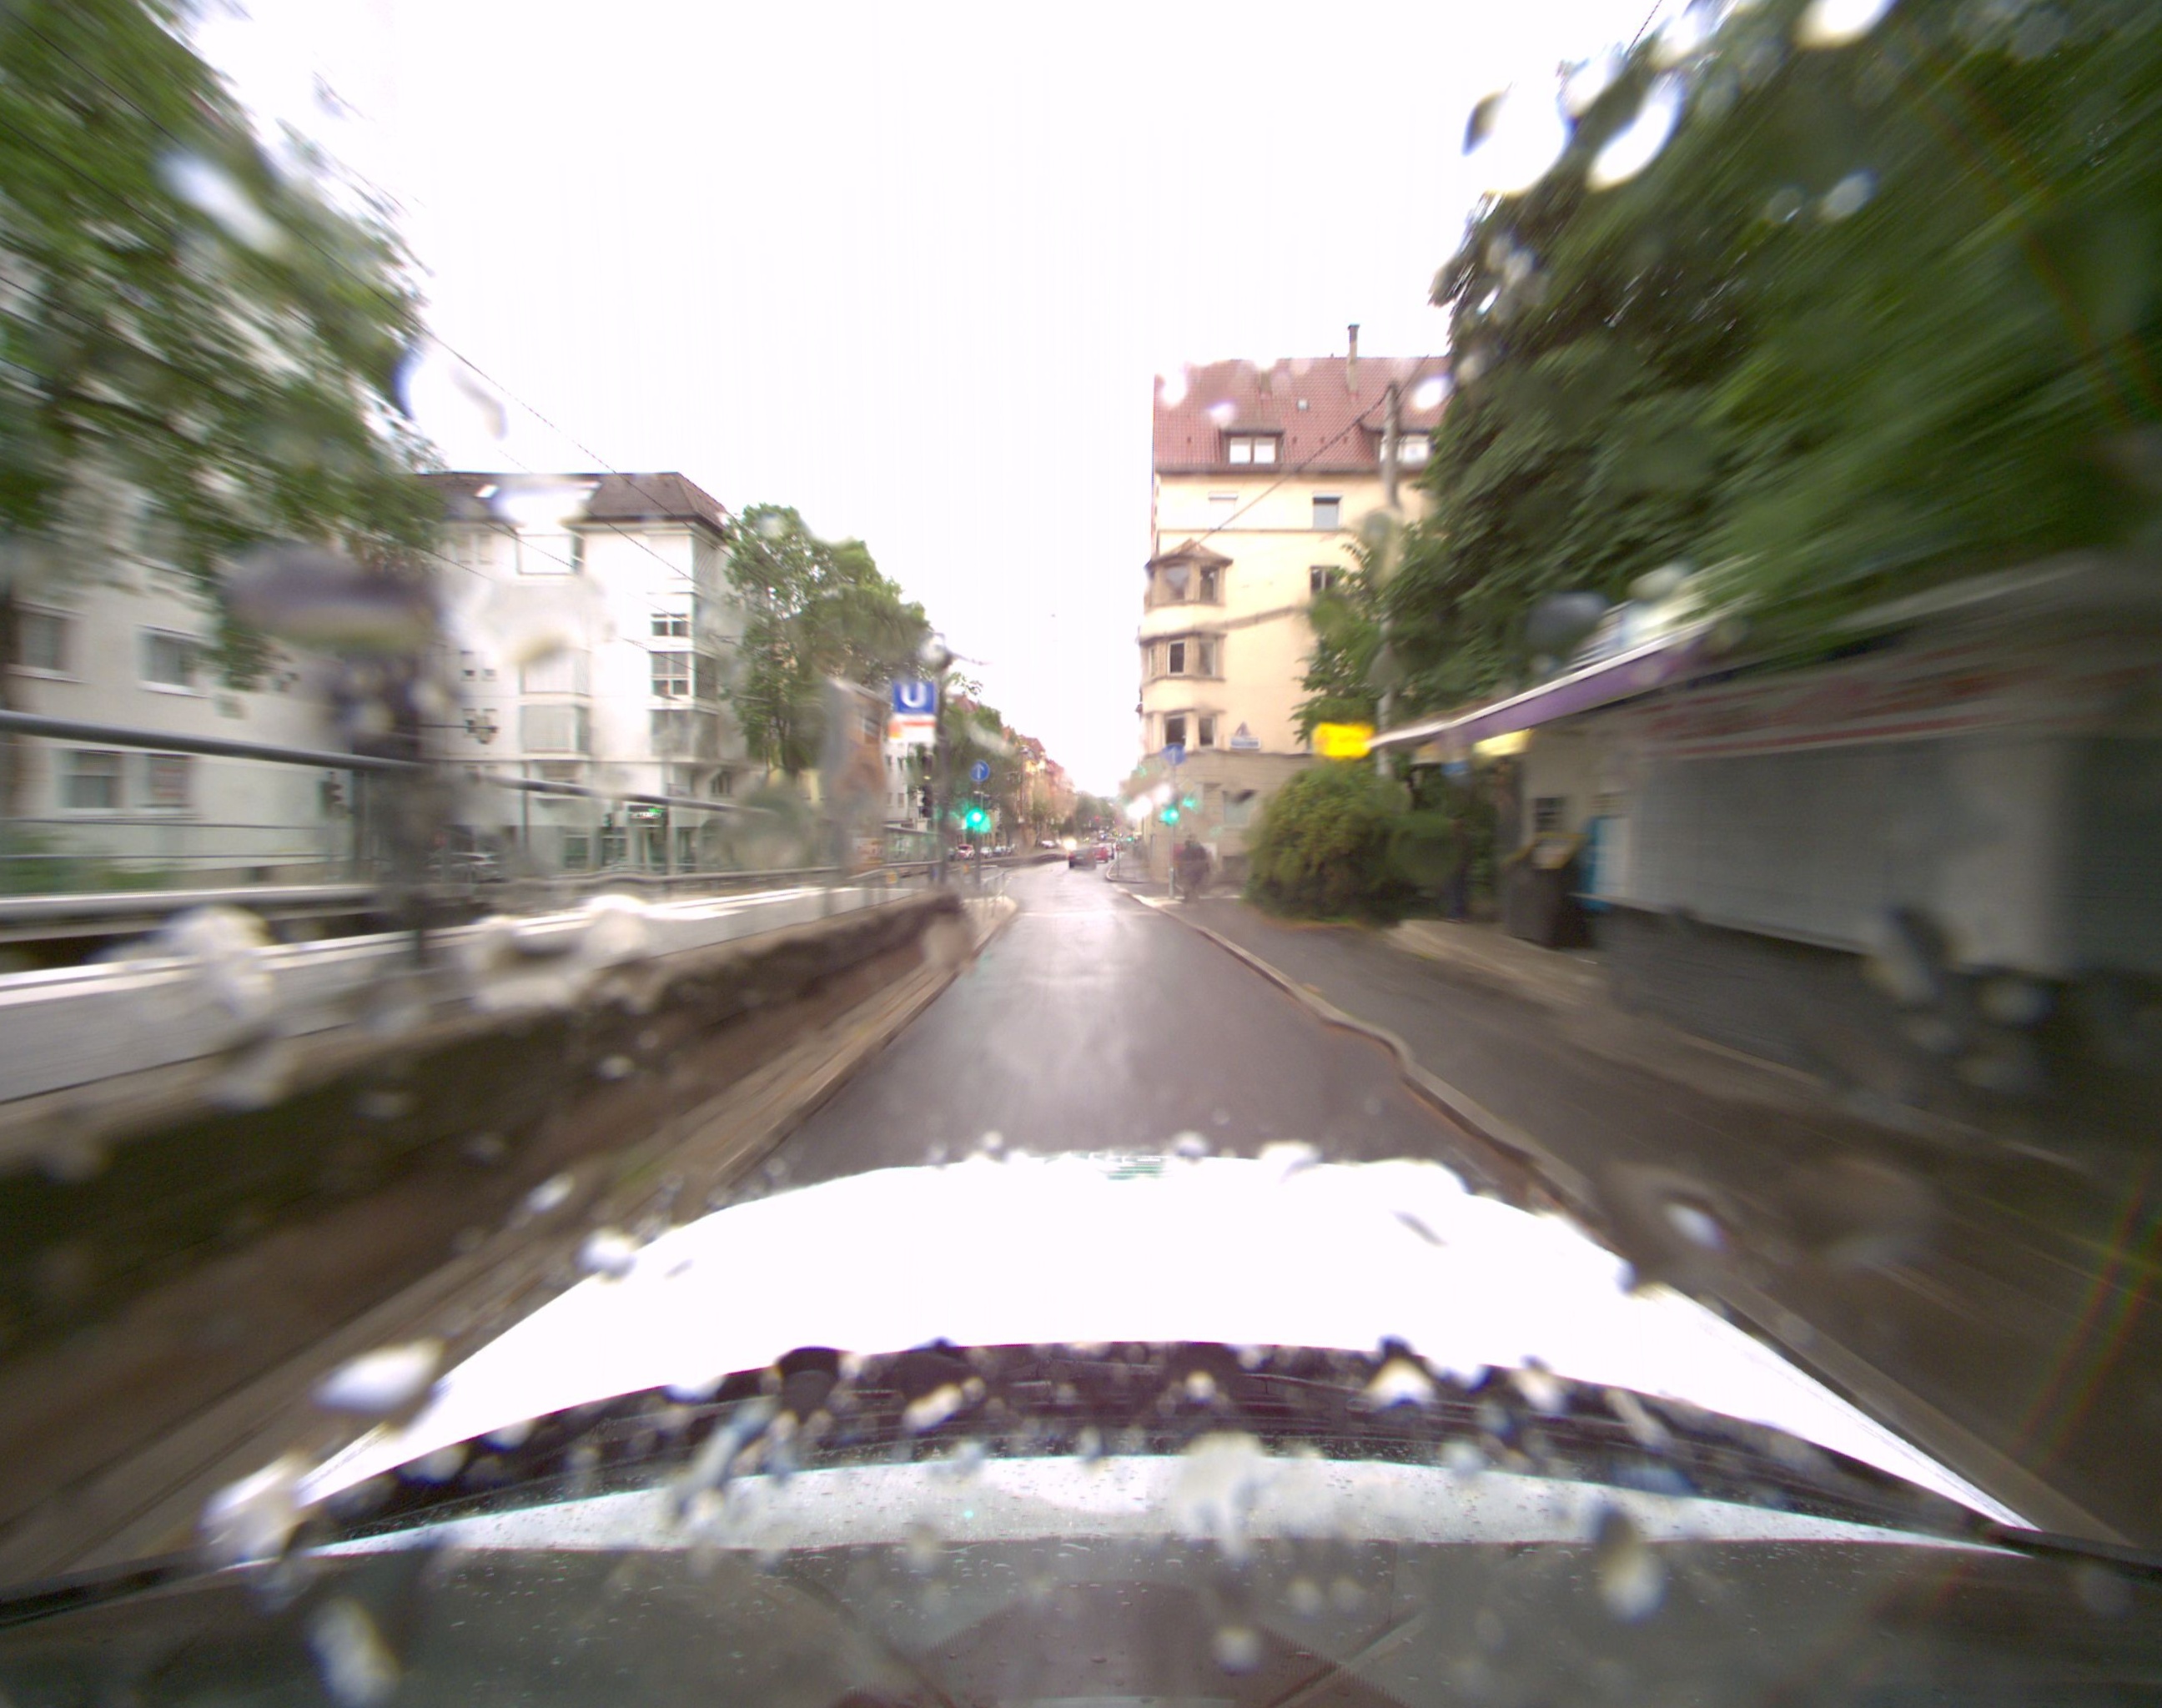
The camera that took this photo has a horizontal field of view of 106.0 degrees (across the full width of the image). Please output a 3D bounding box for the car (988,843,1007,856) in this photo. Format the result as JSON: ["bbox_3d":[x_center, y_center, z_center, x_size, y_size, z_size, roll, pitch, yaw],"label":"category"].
[{"bbox_3d":[-10.930,-0.605,106.535,1.765,1.619,4.260,-2,1,4],"label":"car"}]

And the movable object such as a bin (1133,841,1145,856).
[{"bbox_3d":[6.685,-0.619,94.099,1.164,1.655,1.309,-2,1,-1],"label":"movable object such as a bin"}]

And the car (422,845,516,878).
[{"bbox_3d":[-30.333,0.324,40.514,1.695,1.535,3.997,-1,1,-2],"label":"car"}]

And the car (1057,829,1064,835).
[{"bbox_3d":[-6.188,-6.620,245.598,1.986,2.013,4.002,-1,1,2],"label":"car"}]

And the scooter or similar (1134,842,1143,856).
[{"bbox_3d":[6.542,-0.591,92.593,0.916,1.604,0.862,-1,1,-1],"label":"scooter or similar"}]

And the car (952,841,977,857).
[{"bbox_3d":[-12.339,-0.517,86.437,1.766,1.546,4.258,-2,1,3],"label":"car"}]

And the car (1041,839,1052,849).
[{"bbox_3d":[-7.053,-2.044,167.722,1.986,2.013,4.348,-2,0,2],"label":"car"}]

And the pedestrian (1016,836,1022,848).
[{"bbox_3d":[-10.663,-2.021,139.144,0.868,2.013,0.704,-2,0,1],"label":"pedestrian"}]

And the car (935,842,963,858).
[{"bbox_3d":[-12.770,-0.406,79.197,1.766,1.453,4.258,-2,0,3],"label":"car"}]

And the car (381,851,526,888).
[{"bbox_3d":[-26.879,0.646,34.981,4.693,1.472,2.002,-1,1,3],"label":"car"}]

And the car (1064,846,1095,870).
[{"bbox_3d":[-0.072,0.212,53.229,1.845,1.473,4.002,-1,1,2],"label":"car"}]

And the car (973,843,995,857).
[{"bbox_3d":[-11.639,-0.490,97.865,1.765,1.488,4.259,-2,0,4],"label":"car"}]

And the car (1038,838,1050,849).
[{"bbox_3d":[-7.328,-2.052,162.680,1.986,2.013,4.348,-2,0,2],"label":"car"}]

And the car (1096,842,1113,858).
[{"bbox_3d":[2.771,-0.487,95.121,1.941,1.793,4.145,0,0,1],"label":"car"}]

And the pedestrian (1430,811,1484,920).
[{"bbox_3d":[6.149,0.182,13.349,0.600,1.745,0.615,1,0,1],"label":"pedestrian"}]

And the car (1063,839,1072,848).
[{"bbox_3d":[-3.126,-2.480,193.179,1.986,2.013,4.349,-1,1,2],"label":"car"}]

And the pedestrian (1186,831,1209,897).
[{"bbox_3d":[3.250,0.266,22.794,0.552,1.813,0.651,0,0,0],"label":"pedestrian"}]

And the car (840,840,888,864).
[{"bbox_3d":[-14.658,-0.160,55.158,1.718,1.515,4.501,0,1,4],"label":"car"}]

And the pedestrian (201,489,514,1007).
[{"bbox_3d":[-2.767,-0.374,3.184,0.587,1.807,0.661,1,0,2],"label":"pedestrian"}]

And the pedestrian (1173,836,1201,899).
[{"bbox_3d":[2.890,0.374,22.180,0.692,1.695,0.556,0,0,1],"label":"pedestrian"}]

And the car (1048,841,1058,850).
[{"bbox_3d":[-6.399,-1.982,186.198,1.986,2.013,4.348,-2,0,2],"label":"car"}]

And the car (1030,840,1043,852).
[{"bbox_3d":[-8.246,-1.486,152.673,1.986,2.013,4.348,-2,0,2],"label":"car"}]

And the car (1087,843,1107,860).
[{"bbox_3d":[1.481,-0.236,75.462,1.845,1.473,4.001,0,0,1],"label":"car"}]

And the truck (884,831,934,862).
[{"bbox_3d":[-13.719,-0.578,65.293,2.041,2.393,6.332,0,0,6],"label":"truck"}]
